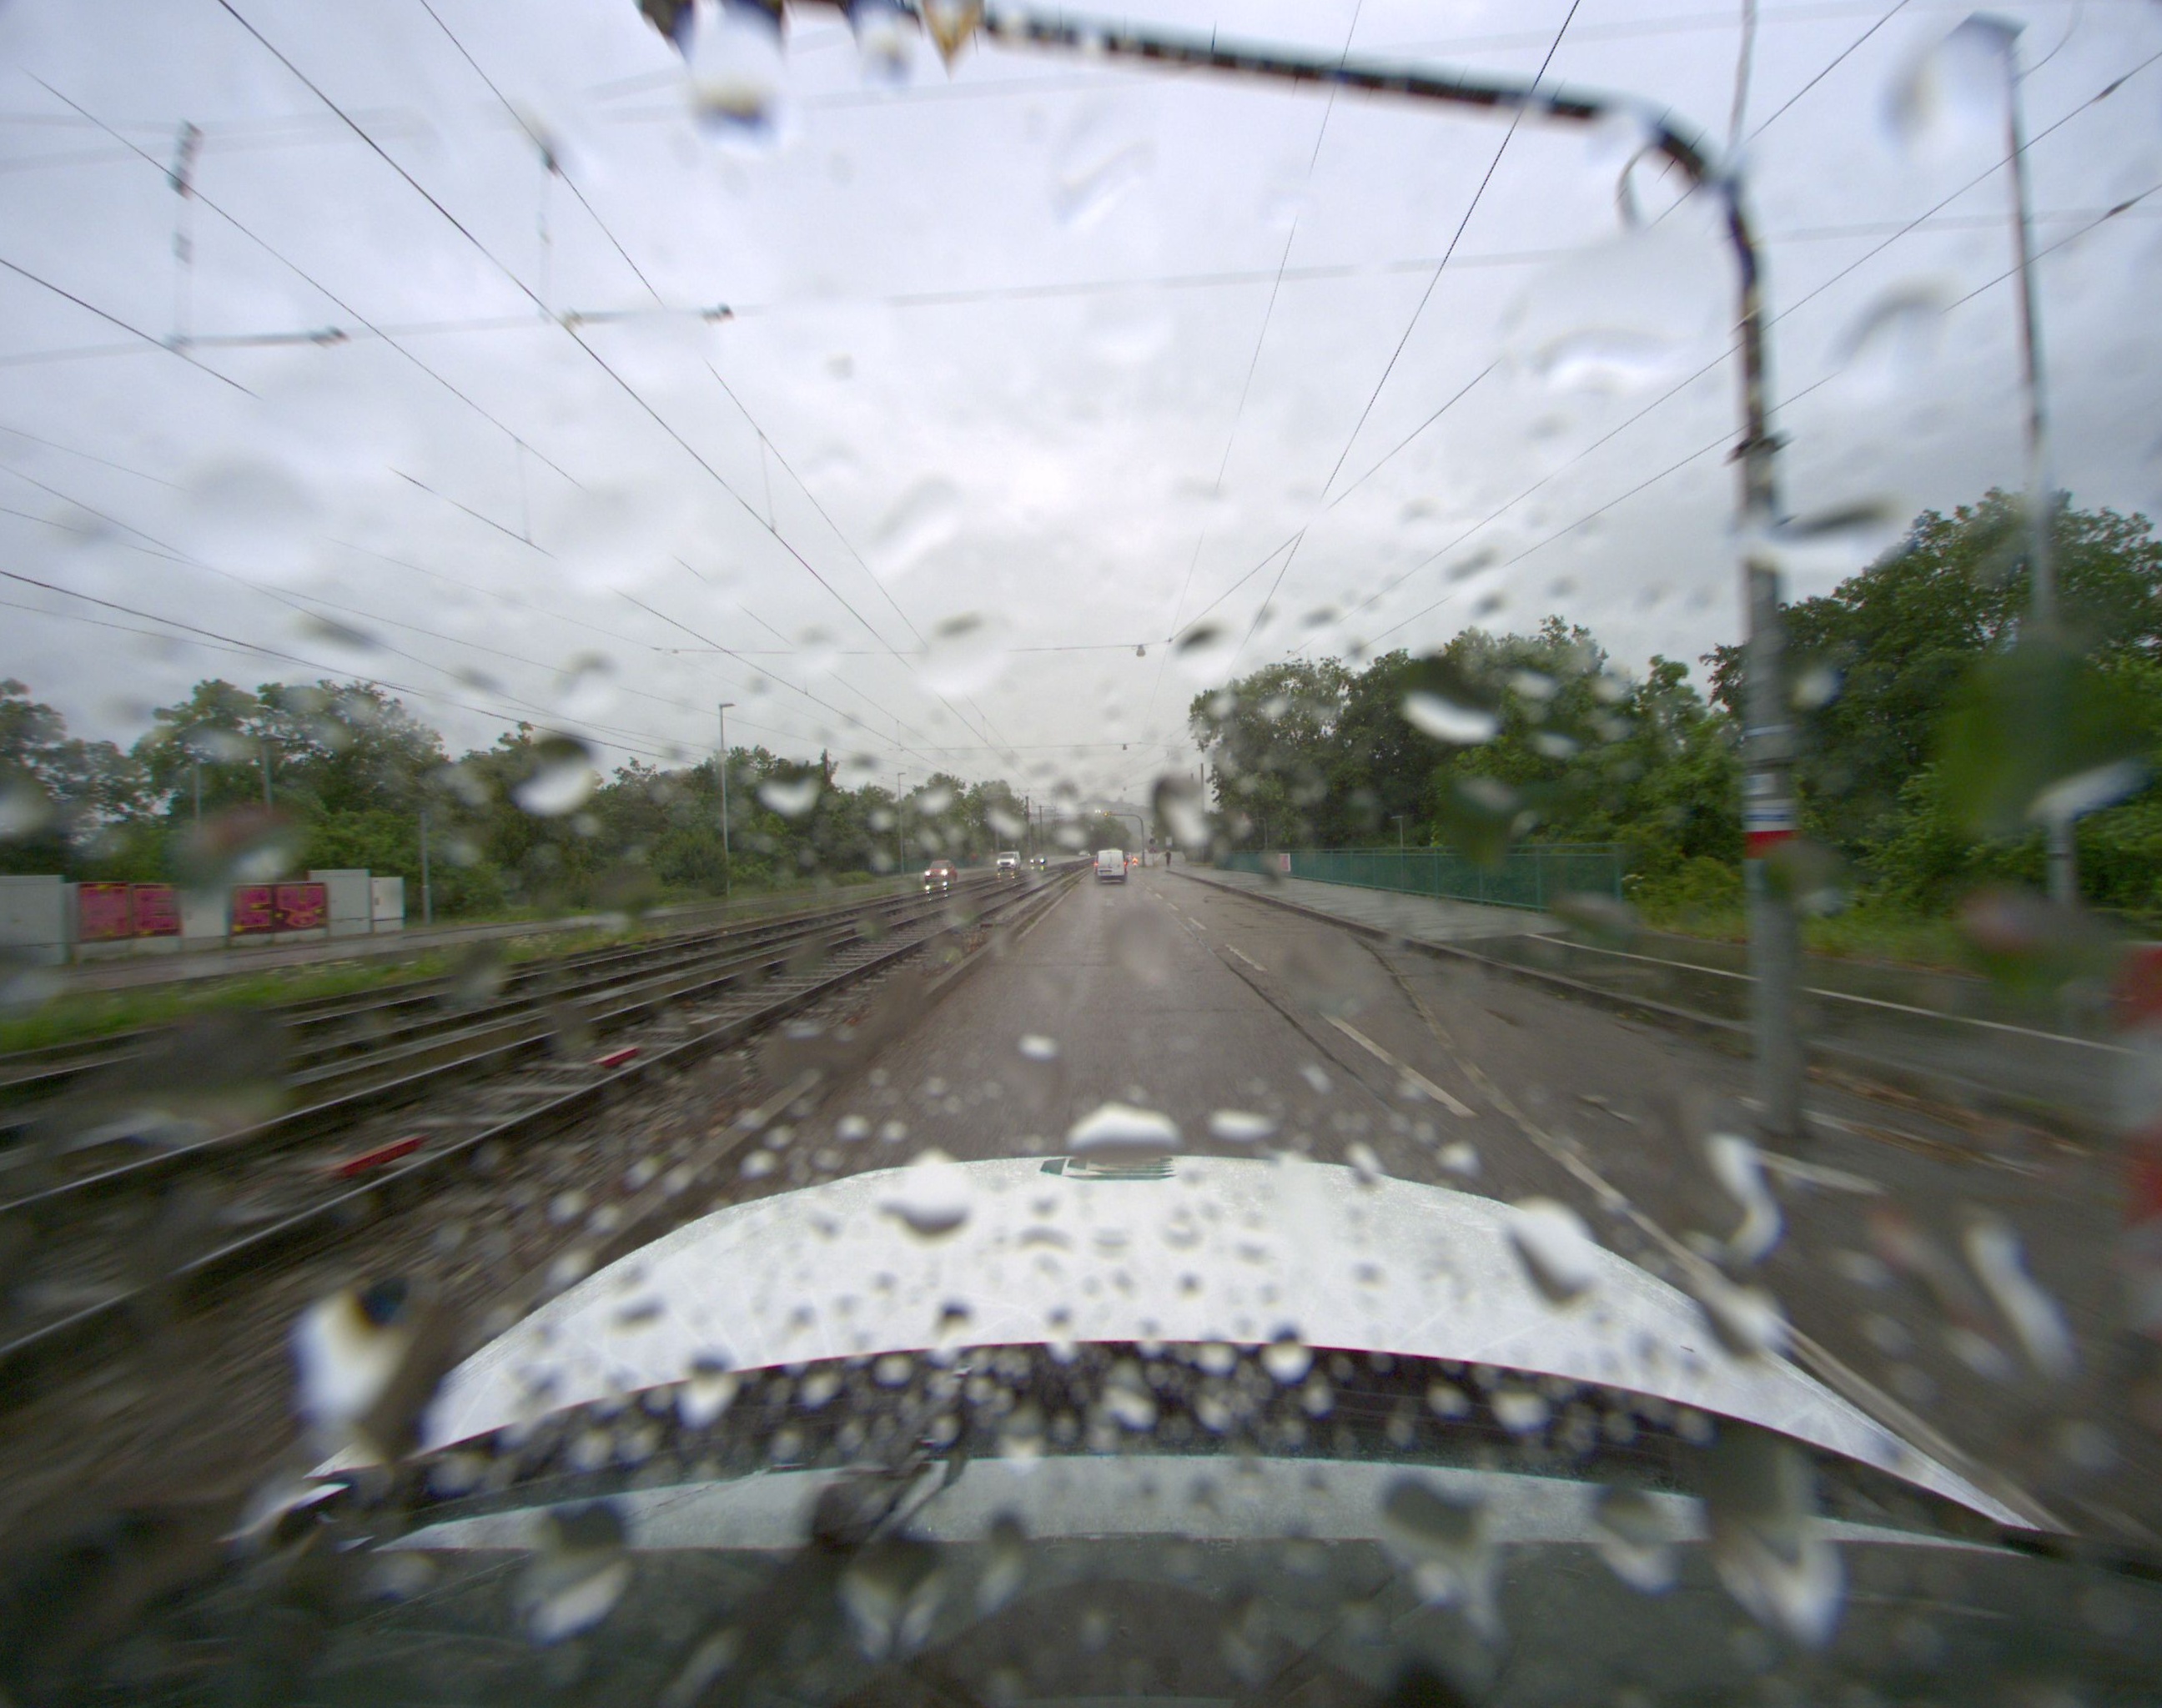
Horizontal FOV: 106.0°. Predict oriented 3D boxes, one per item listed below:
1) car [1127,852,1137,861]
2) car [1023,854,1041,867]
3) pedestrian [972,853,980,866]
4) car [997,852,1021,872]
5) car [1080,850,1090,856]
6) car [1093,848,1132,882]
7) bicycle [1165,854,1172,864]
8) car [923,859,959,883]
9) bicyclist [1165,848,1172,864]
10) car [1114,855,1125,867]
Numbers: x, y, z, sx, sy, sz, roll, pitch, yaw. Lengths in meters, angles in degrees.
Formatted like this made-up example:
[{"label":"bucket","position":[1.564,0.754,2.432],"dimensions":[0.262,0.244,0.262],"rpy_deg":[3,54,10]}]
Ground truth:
[{"label":"car","position":[7.878,0.393,126.668],"dimensions":[1.445,1.499,2.983],"rpy_deg":[0,-1,2]},{"label":"car","position":[-6.657,0.895,111.515],"dimensions":[1.986,1.649,5.373],"rpy_deg":[0,0,2]},{"label":"pedestrian","position":[-14.030,0.726,108.544],"dimensions":[0.860,1.819,1.044],"rpy_deg":[0,-1,4]},{"label":"car","position":[-7.754,0.809,88.085],"dimensions":[1.986,2.044,5.030],"rpy_deg":[0,0,2]},{"label":"car","position":[0.948,-0.236,200.255],"dimensions":[1.925,1.231,4.107],"rpy_deg":[-4,2,6]},{"label":"car","position":[1.658,0.594,44.364],"dimensions":[1.987,1.726,4.000],"rpy_deg":[0,-1,0]},{"label":"bicycle","position":[9.980,0.521,93.036],"dimensions":[0.719,1.129,2.172],"rpy_deg":[0,0,6]},{"label":"car","position":[-9.745,1.176,56.903],"dimensions":[1.717,1.601,3.652],"rpy_deg":[0,-1,2]},{"label":"bicyclist","position":[9.987,0.213,93.156],"dimensions":[0.722,1.764,0.951],"rpy_deg":[0,-1,6]},{"label":"car","position":[5.049,0.951,106.912],"dimensions":[1.445,1.499,2.983],"rpy_deg":[0,-1,2]}]
